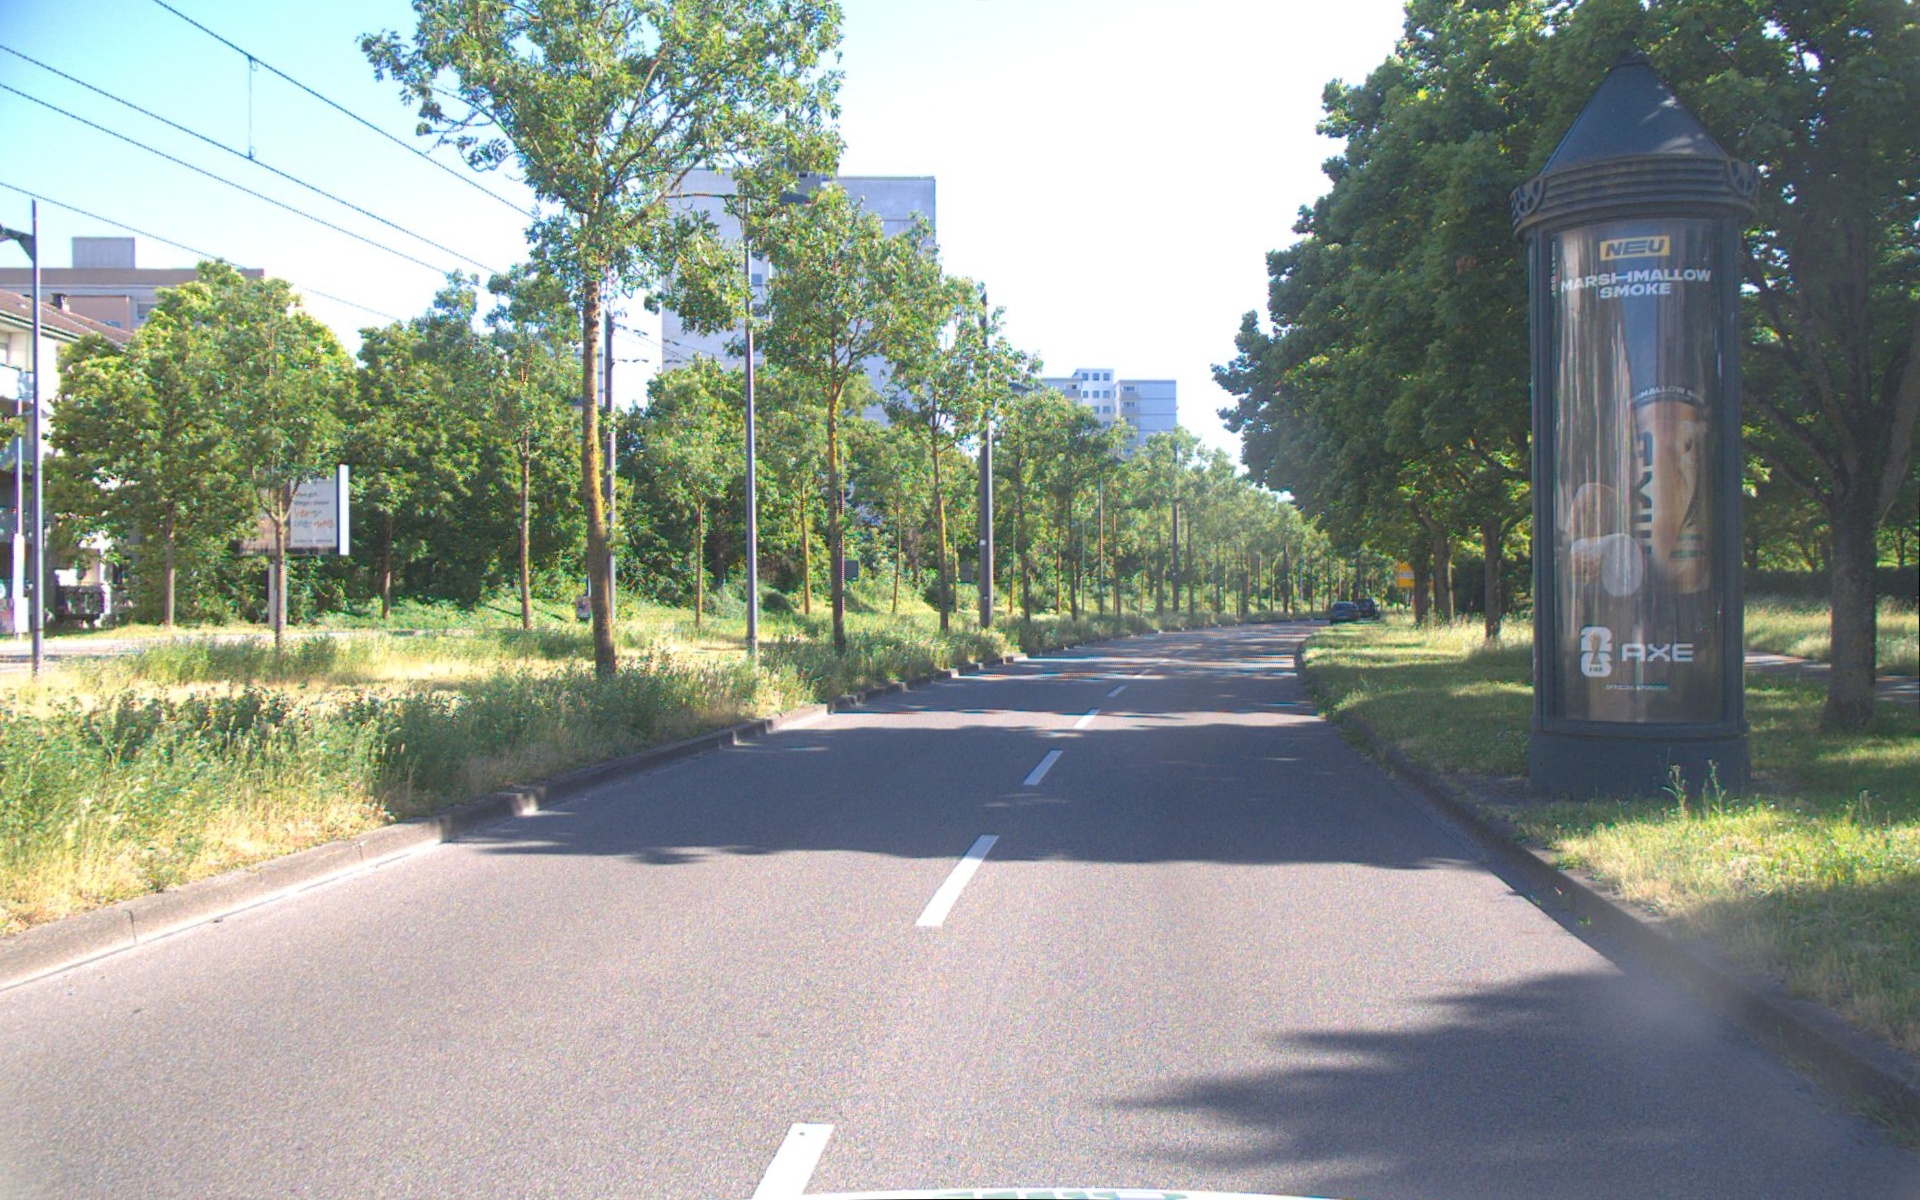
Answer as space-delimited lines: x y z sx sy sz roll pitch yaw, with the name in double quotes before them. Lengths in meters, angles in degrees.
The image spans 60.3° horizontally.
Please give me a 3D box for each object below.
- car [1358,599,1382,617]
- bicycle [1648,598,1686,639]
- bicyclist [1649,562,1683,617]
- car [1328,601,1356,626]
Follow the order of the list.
"car" 36.047 0.716 145.402 1.600 1.524 4.235 0 0 20
"bicycle" 19.076 0.493 44.650 0.778 1.065 2.143 -1 0 19
"bicyclist" 19.092 -0.276 44.724 0.773 1.476 0.845 -1 -1 19
"car" 24.901 0.860 107.736 1.599 1.524 4.237 0 0 15
